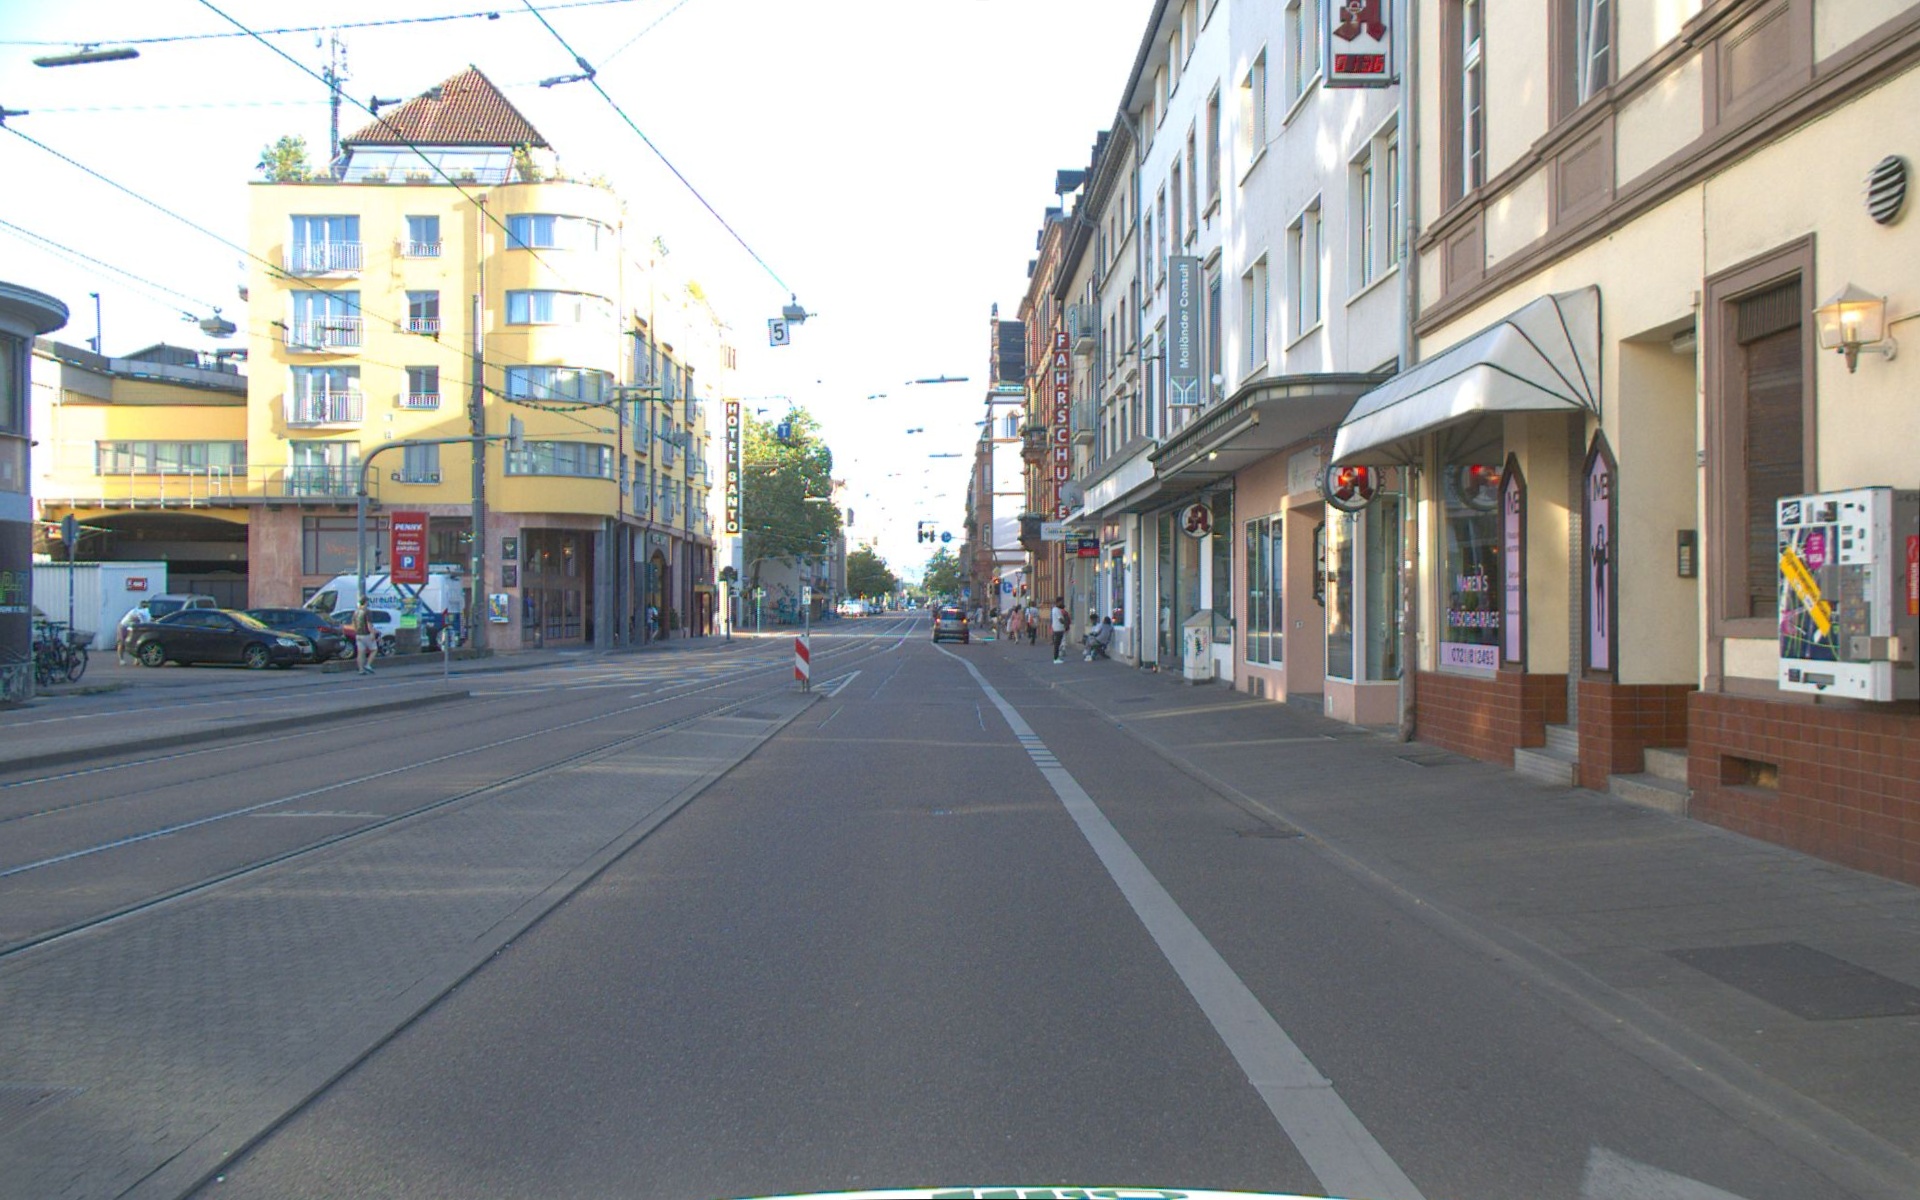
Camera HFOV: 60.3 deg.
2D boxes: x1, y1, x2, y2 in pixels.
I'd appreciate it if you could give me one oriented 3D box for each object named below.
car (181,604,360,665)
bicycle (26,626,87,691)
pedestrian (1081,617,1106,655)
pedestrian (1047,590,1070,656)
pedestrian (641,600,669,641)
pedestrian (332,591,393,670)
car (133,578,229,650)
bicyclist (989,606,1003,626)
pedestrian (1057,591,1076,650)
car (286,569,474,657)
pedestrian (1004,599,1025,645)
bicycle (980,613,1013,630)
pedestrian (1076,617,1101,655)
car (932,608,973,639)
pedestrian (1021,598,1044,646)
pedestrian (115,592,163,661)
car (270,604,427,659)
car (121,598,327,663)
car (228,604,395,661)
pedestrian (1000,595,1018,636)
[{"bbox_3d":[-18.041,0.881,43.387,3.905,1.537,1.800,0,0,0],"label":"car"},{"bbox_3d":[-16.553,1.058,30.333,0.490,1.127,1.794,0,0,-13],"label":"bicycle"},{"bbox_3d":[3.720,1.003,46.181,0.676,1.062,0.681,0,0,3],"label":"pedestrian"},{"bbox_3d":[2.761,0.640,46.466,0.635,1.828,0.562,0,0,3],"label":"pedestrian"},{"bbox_3d":[-13.683,0.918,74.235,0.889,1.847,1.153,0,0,10],"label":"pedestrian"},{"bbox_3d":[-14.325,0.720,39.665,0.889,1.847,1.153,0,0,11],"label":"pedestrian"},{"bbox_3d":[-25.273,0.439,53.782,1.761,2.247,3.991,0,0,-9],"label":"car"},{"bbox_3d":[2.237,0.981,103.028,0.695,1.242,0.754,-1,0,17],"label":"bicyclist"},{"bbox_3d":[3.357,0.647,52.202,0.548,1.828,0.651,0,0,6],"label":"pedestrian"},{"bbox_3d":[-17.858,0.409,51.085,5.001,2.621,2.128,0,0,0],"label":"car"},{"bbox_3d":[2.379,0.955,72.140,0.826,1.951,0.661,0,0,-3],"label":"pedestrian"},{"bbox_3d":[2.258,1.337,103.024,1.893,1.021,0.754,-1,0,17],"label":"bicycle"},{"bbox_3d":[3.663,1.016,47.171,0.676,1.062,0.681,0,0,3],"label":"pedestrian"},{"bbox_3d":[-0.385,1.134,81.691,1.953,1.475,3.999,0,0,-1],"label":"car"},{"bbox_3d":[2.973,0.908,67.696,0.831,1.951,1.034,0,0,-3],"label":"pedestrian"},{"bbox_3d":[-20.391,0.655,41.099,0.884,1.681,0.751,1,-1,-43],"label":"pedestrian"},{"bbox_3d":[-17.886,0.906,48.502,3.905,1.537,1.800,0,0,0],"label":"car"},{"bbox_3d":[-18.051,0.737,40.685,4.231,1.537,1.800,0,0,0],"label":"car"},{"bbox_3d":[-17.979,0.894,45.969,3.905,1.537,1.800,0,0,0],"label":"car"},{"bbox_3d":[2.387,0.754,80.844,0.826,1.951,0.847,0,0,-3],"label":"pedestrian"}]
